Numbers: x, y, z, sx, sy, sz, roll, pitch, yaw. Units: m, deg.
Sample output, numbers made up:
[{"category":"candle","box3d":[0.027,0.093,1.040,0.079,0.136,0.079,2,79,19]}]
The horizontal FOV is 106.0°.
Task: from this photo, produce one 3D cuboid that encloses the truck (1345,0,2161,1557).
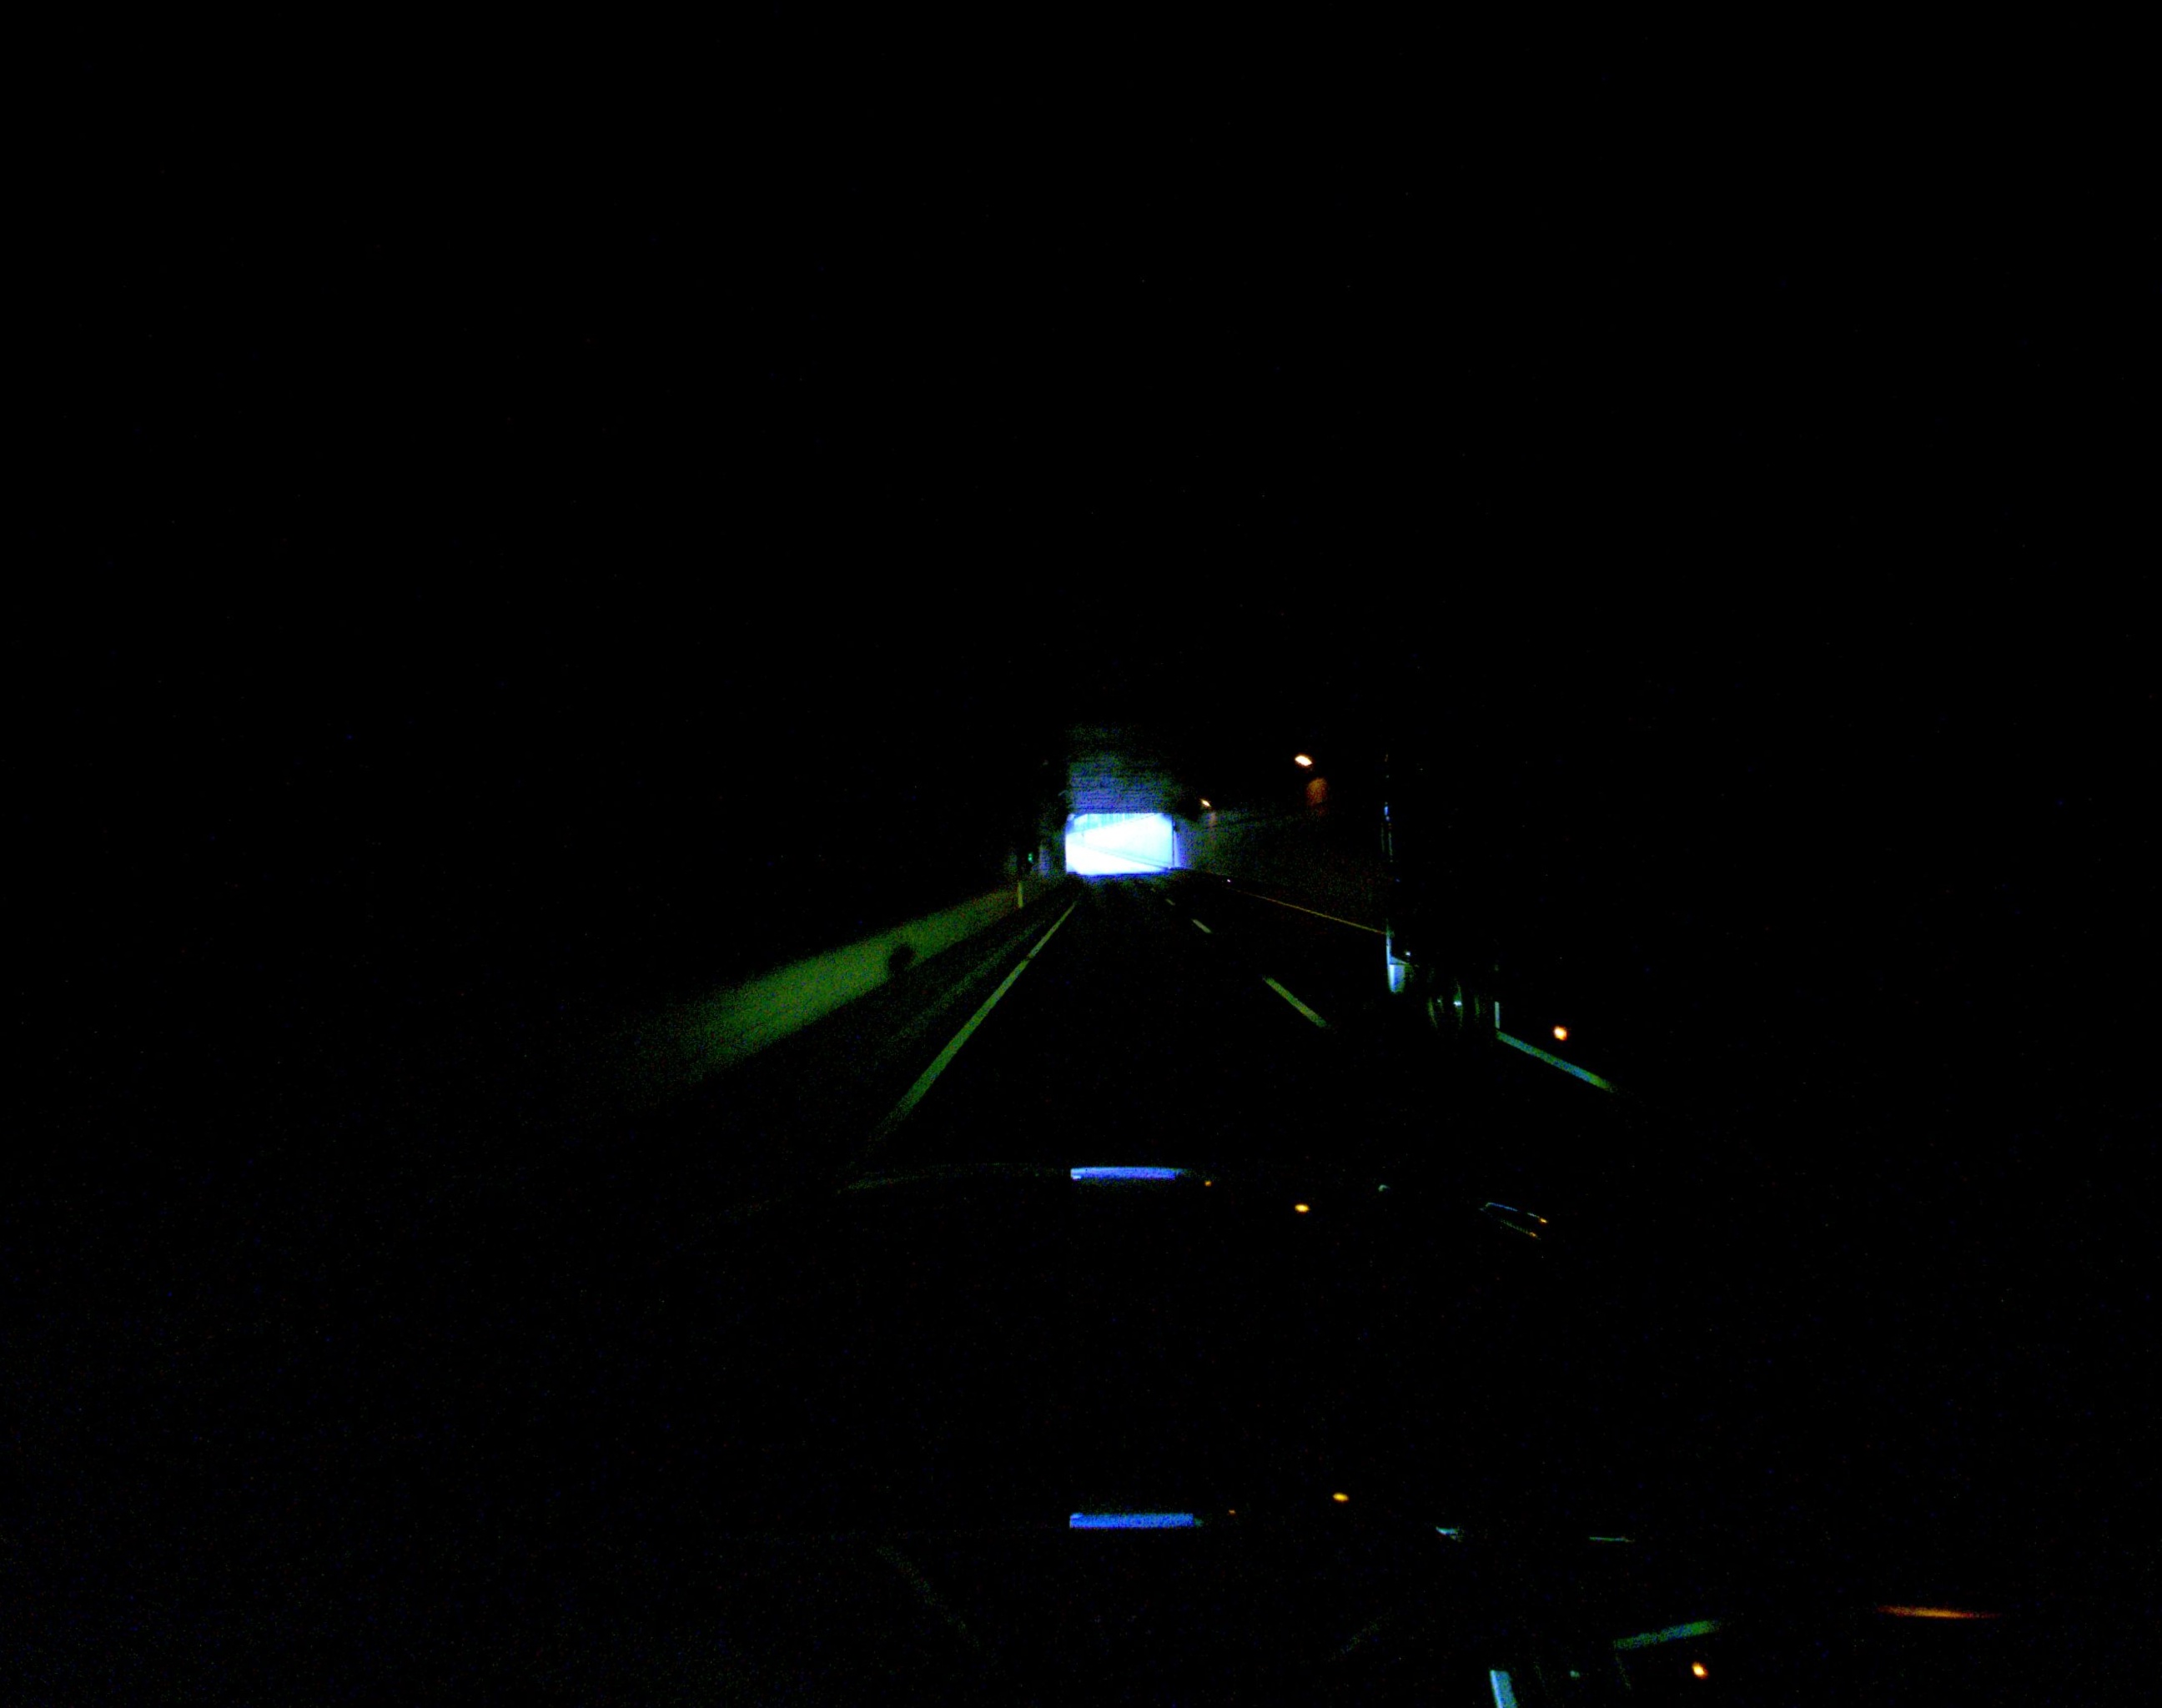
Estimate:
[{"category":"truck","box3d":[3.590,-0.579,2.165,2.877,3.913,9.915,-1,0,2]}]
